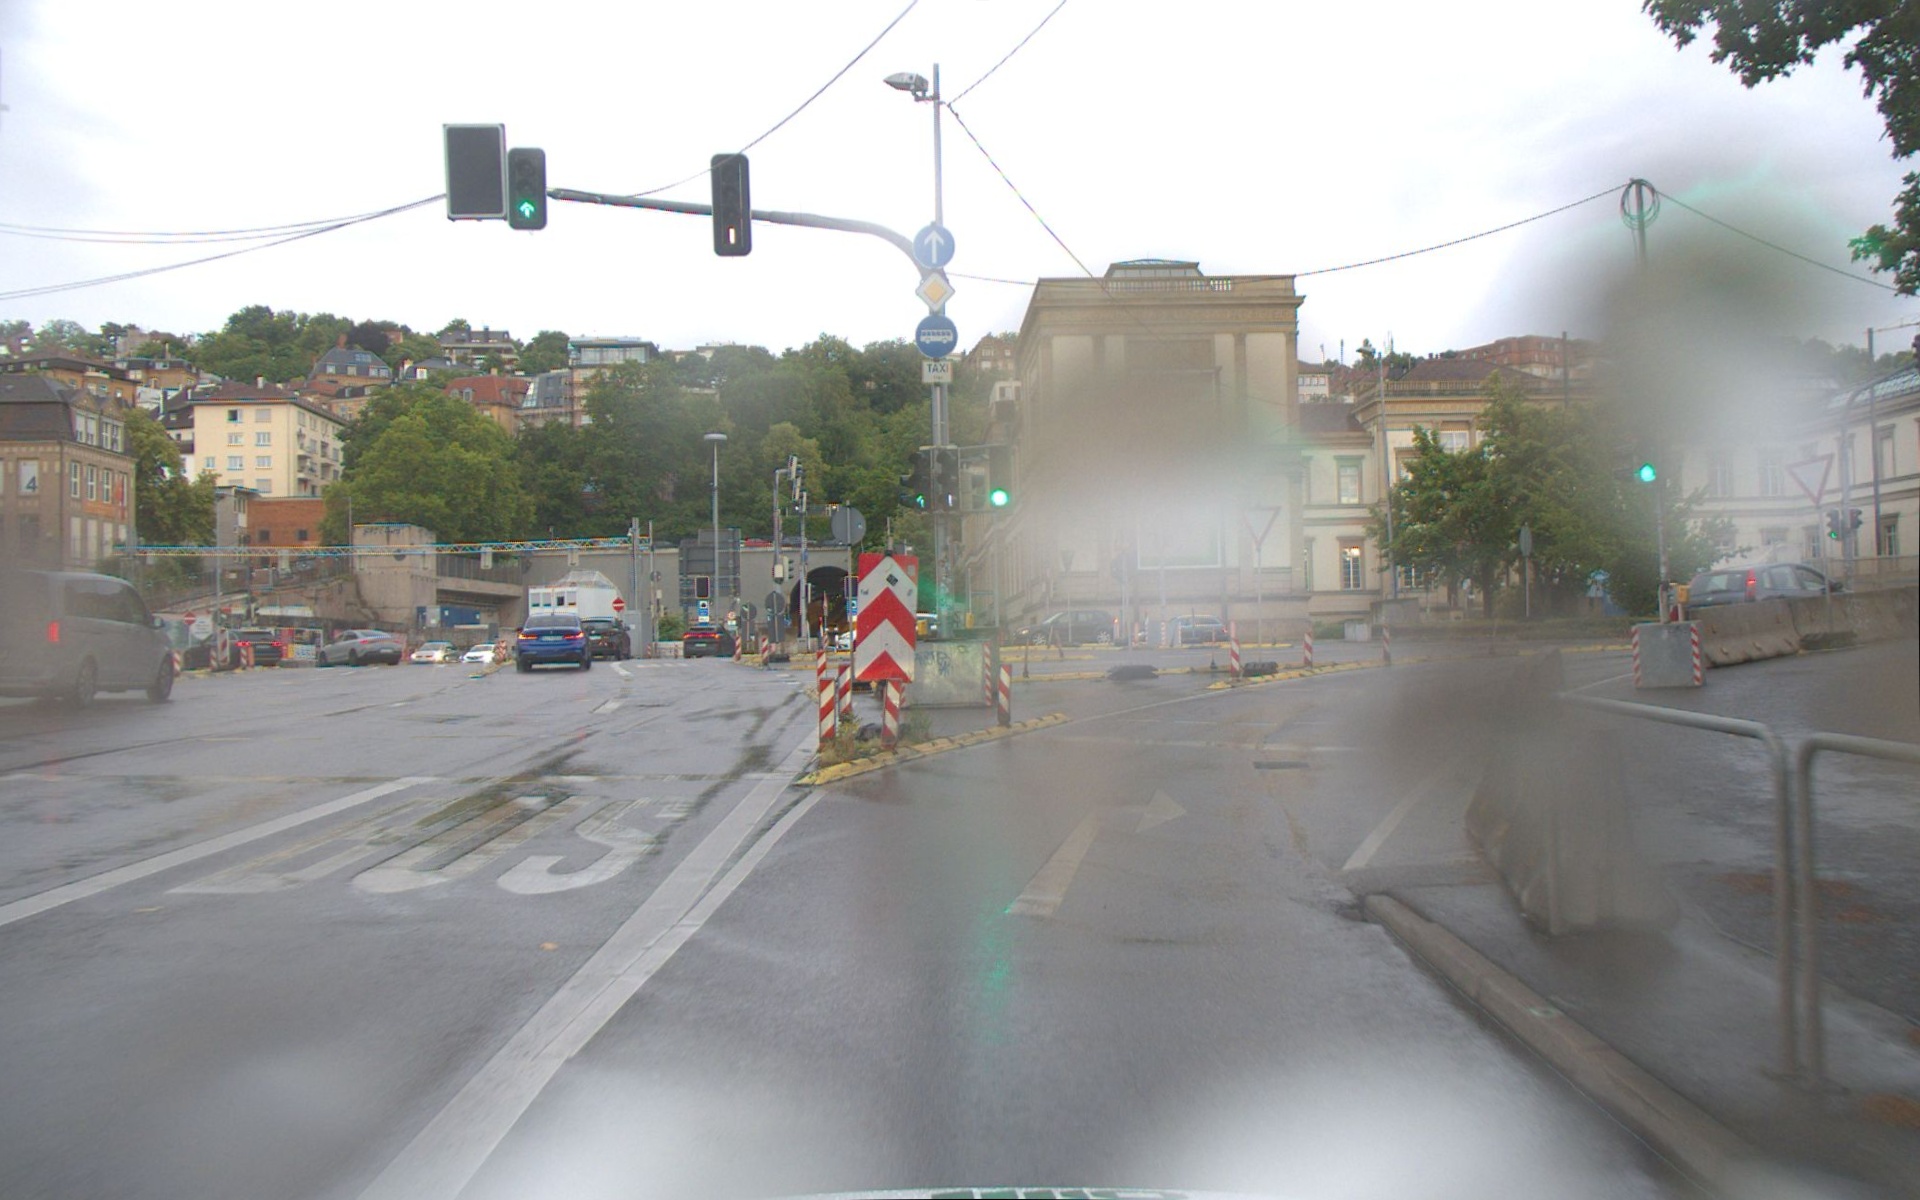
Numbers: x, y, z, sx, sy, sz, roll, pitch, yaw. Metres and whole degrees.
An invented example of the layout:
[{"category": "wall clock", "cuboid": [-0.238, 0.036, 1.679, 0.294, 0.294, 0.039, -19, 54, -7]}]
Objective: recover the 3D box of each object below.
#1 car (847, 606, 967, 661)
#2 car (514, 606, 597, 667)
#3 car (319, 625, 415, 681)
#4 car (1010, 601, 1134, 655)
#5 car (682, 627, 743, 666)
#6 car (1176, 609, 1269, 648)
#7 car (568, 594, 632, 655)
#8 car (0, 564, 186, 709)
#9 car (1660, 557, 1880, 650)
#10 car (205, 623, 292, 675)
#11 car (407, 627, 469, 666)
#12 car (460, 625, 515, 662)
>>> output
[{"category": "car", "cuboid": [-2.070, 1.278, 63.969, 4.537, 2.049, 1.998, 0, 0, -6]}, {"category": "car", "cuboid": [-10.429, 0.913, 42.480, 1.961, 1.464, 3.983, 0, -1, -16]}, {"category": "car", "cuboid": [-23.624, 2.066, 65.823, 4.221, 2.049, 1.987, 0, 0, 44]}, {"category": "car", "cuboid": [4.369, 1.074, 64.727, 4.584, 2.049, 1.998, 0, 0, -6]}, {"category": "car", "cuboid": [-11.418, 2.142, 76.547, 1.952, 1.663, 4.002, 1, 0, 4]}, {"category": "car", "cuboid": [12.331, 1.332, 77.895, 4.096, 1.730, 1.822, 0, 0, -1]}, {"category": "car", "cuboid": [-12.577, 0.816, 57.962, 1.957, 2.049, 3.991, 0, 0, -10]}, {"category": "car", "cuboid": [-12.946, 0.495, 23.746, 1.956, 1.871, 4.676, 0, -1, -7]}, {"category": "car", "cuboid": [14.206, 0.033, 28.969, 3.705, 1.452, 1.659, -2, 1, -29]}, {"category": "car", "cuboid": [-26.243, 1.787, 60.973, 1.767, 1.780, 3.938, 0, 0, -42]}, {"category": "car", "cuboid": [-28.657, 2.531, 90.876, 1.952, 2.049, 4.001, 0, 0, 3]}, {"category": "car", "cuboid": [-28.232, 2.592, 98.959, 1.952, 2.049, 4.001, 0, 0, 3]}]
